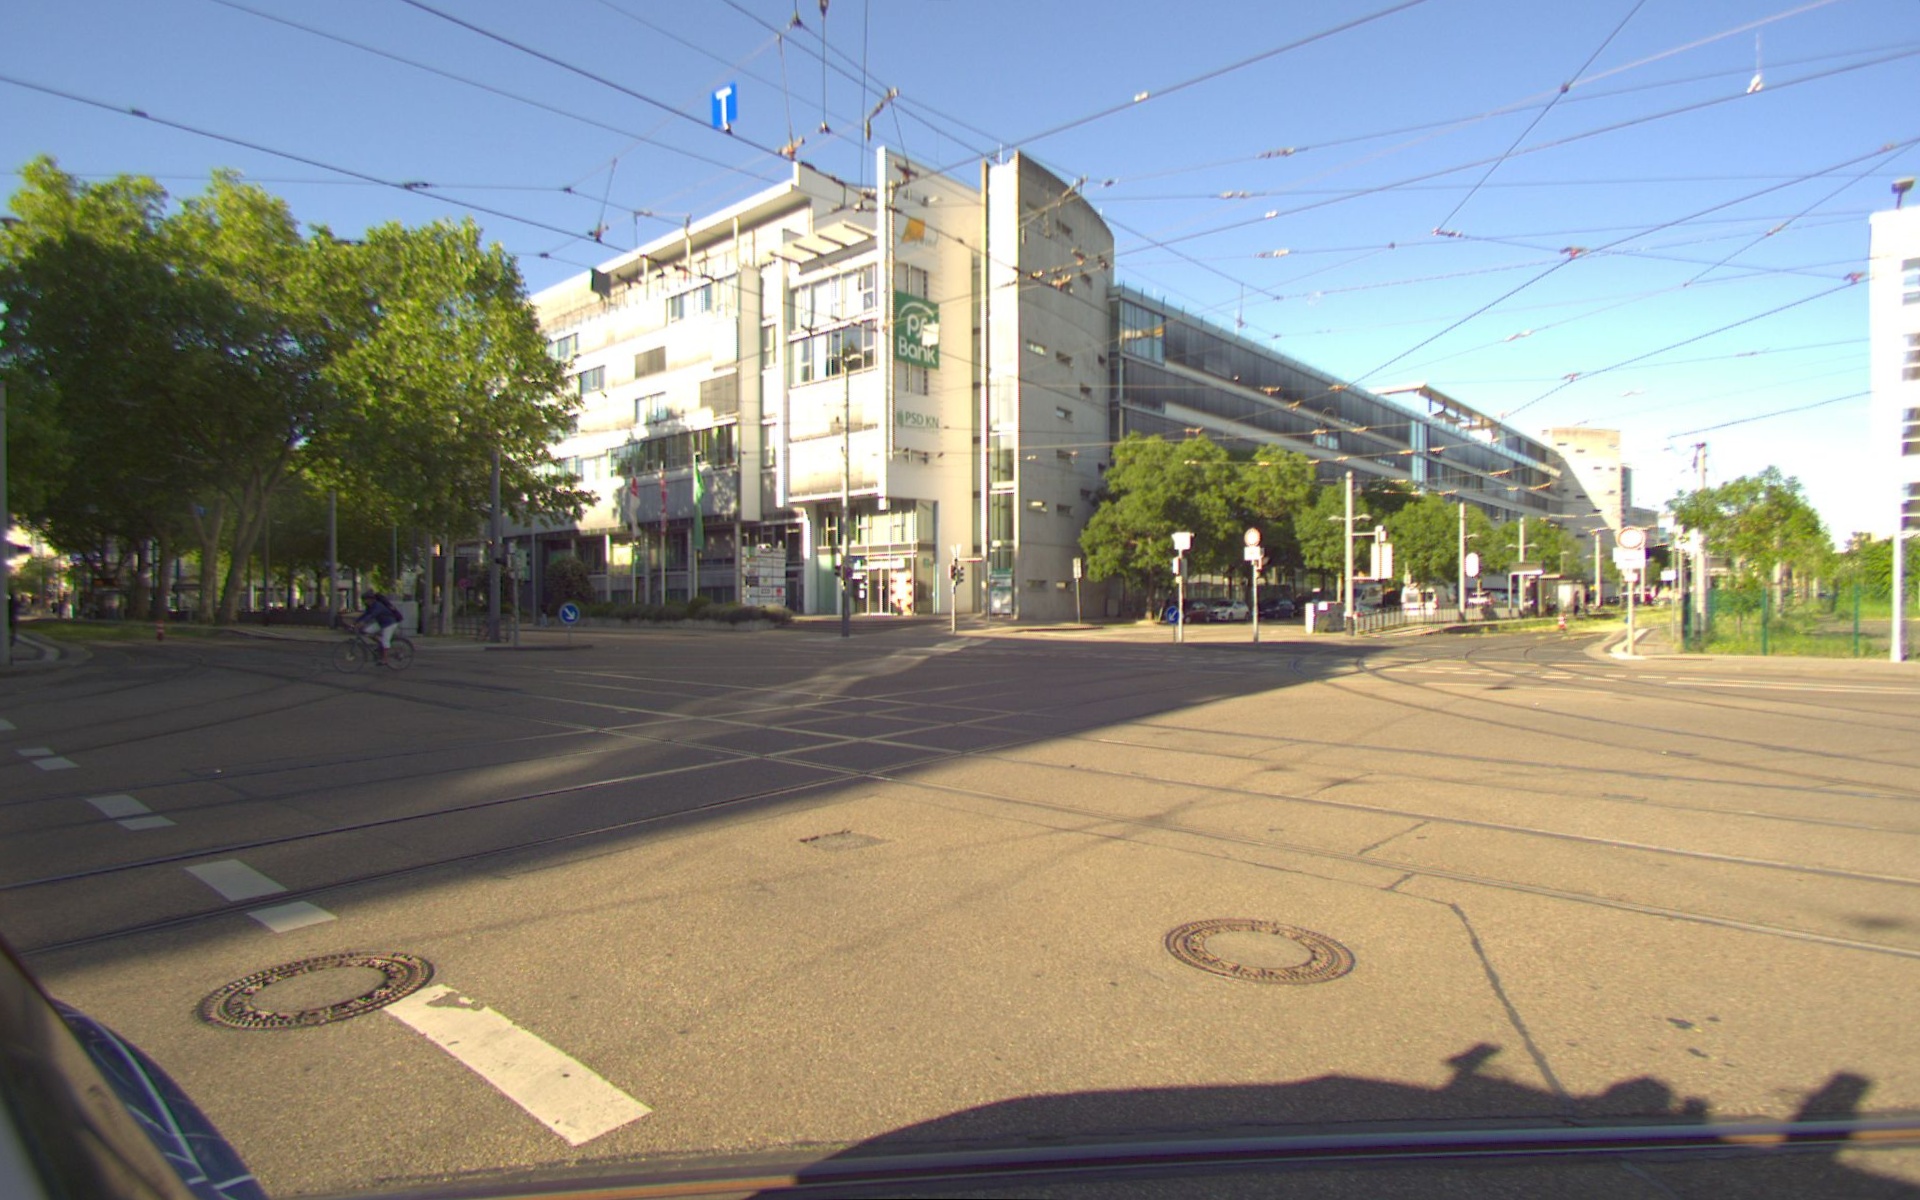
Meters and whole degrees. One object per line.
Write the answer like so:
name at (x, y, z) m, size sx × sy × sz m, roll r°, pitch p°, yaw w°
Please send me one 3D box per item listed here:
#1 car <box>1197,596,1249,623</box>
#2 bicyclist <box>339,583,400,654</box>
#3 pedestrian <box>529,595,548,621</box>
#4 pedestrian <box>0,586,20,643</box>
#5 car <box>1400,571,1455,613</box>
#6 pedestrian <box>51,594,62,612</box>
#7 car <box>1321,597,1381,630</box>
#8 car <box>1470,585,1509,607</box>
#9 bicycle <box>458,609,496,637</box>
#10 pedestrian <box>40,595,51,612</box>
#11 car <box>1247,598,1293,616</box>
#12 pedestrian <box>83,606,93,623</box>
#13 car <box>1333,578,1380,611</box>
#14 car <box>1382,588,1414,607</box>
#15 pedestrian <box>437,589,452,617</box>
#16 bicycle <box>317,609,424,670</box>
car at (16.983, 0.588, 65.319) m, size 1.734 × 1.666 × 3.900 m, roll 0°, pitch 1°, yaw 41°
bicyclist at (-12.800, 0.389, 21.955) m, size 0.719 × 1.505 × 0.875 m, roll 0°, pitch 1°, yaw 25°
pedestrian at (-26.552, 0.497, 63.754) m, size 0.767 × 1.604 × 0.896 m, roll 0°, pitch 0°, yaw 42°
pedestrian at (-29.691, 0.447, 31.419) m, size 0.725 × 1.760 × 0.712 m, roll -1°, pitch 0°, yaw -43°
car at (29.393, -0.495, 63.597) m, size 2.180 × 2.524 × 4.343 m, roll 0°, pitch 1°, yaw 39°
pedestrian at (-89.020, 0.317, 99.696) m, size 0.675 × 1.767 × 0.649 m, roll -1°, pitch 0°, yaw 34°
car at (20.650, 0.683, 53.375) m, size 2.104 × 1.710 × 3.923 m, roll 0°, pitch 0°, yaw 35°
car at (38.331, -0.289, 73.249) m, size 1.752 × 1.570 × 3.898 m, roll 0°, pitch 1°, yaw 39°
bicycle at (-17.680, 0.828, 37.030) m, size 0.803 × 0.953 × 1.728 m, roll -1°, pitch 0°, yaw -42°
pedestrian at (-89.557, 0.360, 99.112) m, size 0.697 × 1.708 × 0.678 m, roll -1°, pitch 0°, yaw 34°
car at (21.870, 0.467, 71.335) m, size 1.807 × 1.197 × 3.750 m, roll 0°, pitch 1°, yaw 39°
pedestrian at (-77.423, 1.278, 89.833) m, size 0.549 × 1.508 × 0.548 m, roll -1°, pitch 0°, yaw 31°
car at (32.884, -0.473, 83.782) m, size 2.230 × 2.674 × 5.062 m, roll 0°, pitch 1°, yaw 39°
car at (39.439, -0.236, 91.023) m, size 1.734 × 1.666 × 3.750 m, roll 0°, pitch 1°, yaw 39°
pedestrian at (-37.408, 0.202, 73.420) m, size 0.833 × 1.991 × 0.599 m, roll -1°, pitch 1°, yaw 40°
bicycle at (-12.775, 0.827, 22.003) m, size 0.587 × 1.198 × 2.026 m, roll 0°, pitch 1°, yaw 25°
